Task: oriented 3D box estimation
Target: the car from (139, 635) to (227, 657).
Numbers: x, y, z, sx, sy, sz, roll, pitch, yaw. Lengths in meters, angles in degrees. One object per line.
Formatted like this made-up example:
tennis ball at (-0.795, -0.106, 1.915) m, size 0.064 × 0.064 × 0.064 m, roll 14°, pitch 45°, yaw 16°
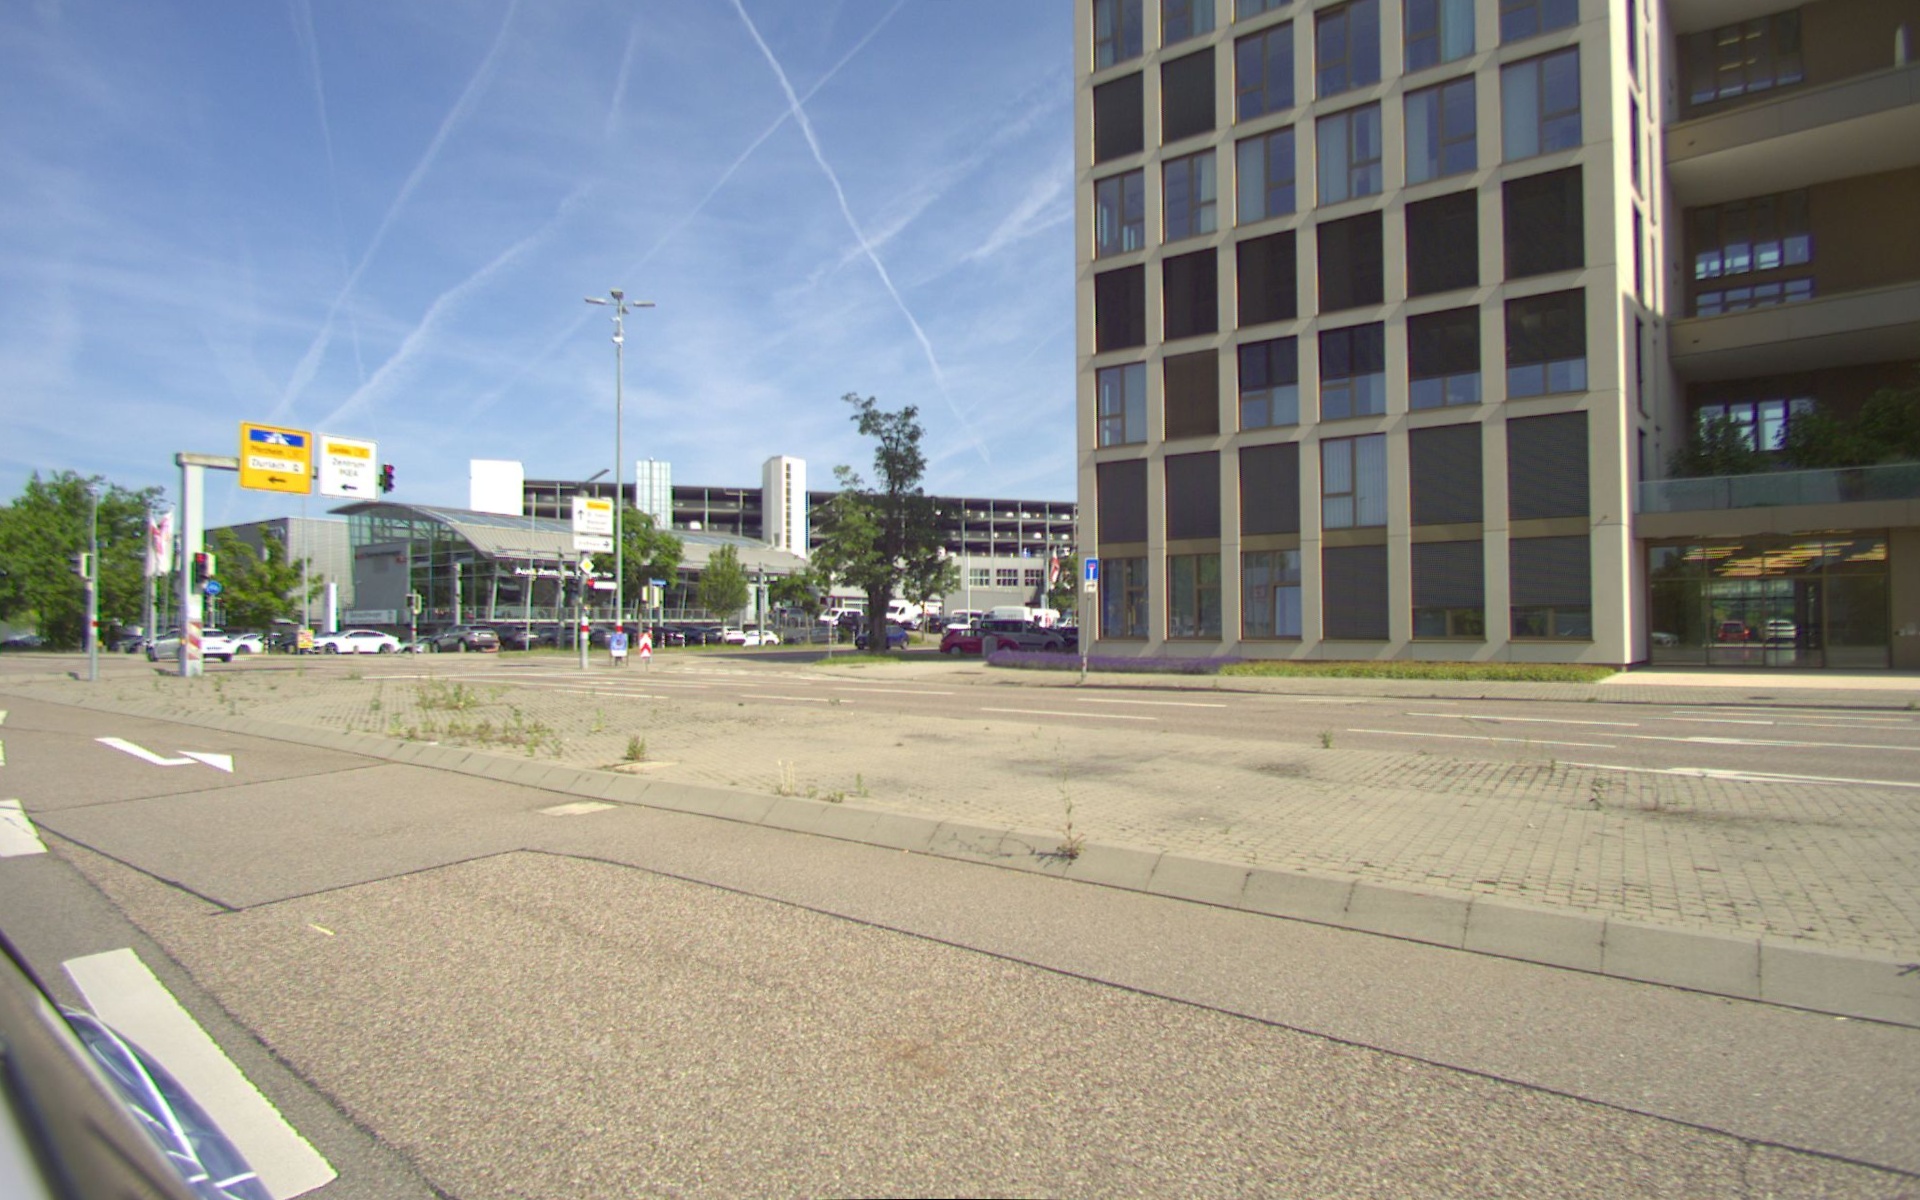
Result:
car at (-51.375, 3.072, 66.979) m, size 1.824 × 1.365 × 4.247 m, roll -2°, pitch -5°, yaw 32°

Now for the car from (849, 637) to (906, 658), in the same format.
car at (-5.435, 3.123, 66.835) m, size 1.657 × 1.299 × 3.755 m, roll -2°, pitch -2°, yaw 38°

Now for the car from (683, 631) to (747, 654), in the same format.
car at (-17.467, 3.055, 71.996) m, size 4.545 × 1.453 × 1.773 m, roll -4°, pitch -4°, yaw 33°

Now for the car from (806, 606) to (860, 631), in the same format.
car at (-10.534, 1.537, 84.215) m, size 2.082 × 1.922 × 4.499 m, roll 3°, pitch 1°, yaw 31°

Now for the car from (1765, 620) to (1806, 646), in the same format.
car at (57.216, 2.276, 70.203) m, size 1.946 × 1.692 × 3.950 m, roll -2°, pitch -2°, yaw 37°

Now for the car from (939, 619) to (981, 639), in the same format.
car at (0.052, 2.581, 90.125) m, size 1.993 × 1.586 × 3.944 m, roll -2°, pitch 0°, yaw 31°

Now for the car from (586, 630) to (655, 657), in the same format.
car at (-21.945, 2.830, 65.398) m, size 4.660 × 1.529 × 1.764 m, roll -4°, pitch -4°, yaw 33°

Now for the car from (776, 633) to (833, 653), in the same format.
car at (-12.030, 3.326, 78.132) m, size 3.958 × 1.453 × 1.803 m, roll 1°, pitch -2°, yaw -30°

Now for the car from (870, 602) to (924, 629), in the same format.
car at (-5.833, 1.425, 94.567) m, size 2.083 × 2.360 × 5.487 m, roll -3°, pitch -2°, yaw 34°

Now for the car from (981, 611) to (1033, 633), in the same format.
car at (4.632, 2.153, 99.031) m, size 4.736 × 2.029 × 1.978 m, roll -2°, pitch -2°, yaw 33°

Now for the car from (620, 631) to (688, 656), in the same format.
car at (-20.423, 2.915, 67.478) m, size 4.618 × 1.453 × 1.773 m, roll -5°, pitch -4°, yaw 33°

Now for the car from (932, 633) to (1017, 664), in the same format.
car at (0.688, 2.376, 50.234) m, size 3.966 × 1.426 × 1.811 m, roll -1°, pitch -2°, yaw -8°

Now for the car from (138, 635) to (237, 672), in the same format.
car at (-32.629, 2.249, 42.725) m, size 4.316 × 1.472 × 1.769 m, roll -2°, pitch -4°, yaw 30°

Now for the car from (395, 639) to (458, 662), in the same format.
car at (-36.678, 3.469, 69.624) m, size 1.655 × 1.484 × 3.480 m, roll -2°, pitch -2°, yaw 32°

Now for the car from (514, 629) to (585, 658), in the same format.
car at (-24.678, 2.633, 60.806) m, size 4.363 × 1.556 × 1.773 m, roll -5°, pitch -4°, yaw 33°

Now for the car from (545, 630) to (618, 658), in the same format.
car at (-23.638, 2.742, 63.141) m, size 4.763 × 1.517 × 1.773 m, roll -5°, pitch -4°, yaw 33°

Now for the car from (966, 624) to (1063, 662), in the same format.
car at (2.858, 2.260, 53.386) m, size 4.736 × 1.835 × 1.902 m, roll -1°, pitch -2°, yaw -10°

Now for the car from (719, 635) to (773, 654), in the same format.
car at (-17.404, 3.594, 82.141) m, size 3.957 × 1.453 × 1.803 m, roll 1°, pitch -2°, yaw -27°

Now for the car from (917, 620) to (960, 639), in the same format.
car at (-1.920, 2.673, 91.386) m, size 1.993 × 1.586 × 3.943 m, roll -2°, pitch -1°, yaw 31°

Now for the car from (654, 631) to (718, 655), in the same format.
car at (-18.866, 2.994, 69.696) m, size 4.389 × 1.453 × 1.773 m, roll -4°, pitch -4°, yaw 33°

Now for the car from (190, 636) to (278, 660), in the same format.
car at (-44.523, 2.965, 62.142) m, size 1.863 × 1.329 × 3.954 m, roll -2°, pitch -5°, yaw 33°

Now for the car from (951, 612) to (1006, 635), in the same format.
car at (1.717, 2.193, 94.633) m, size 4.736 × 2.029 × 1.978 m, roll -2°, pitch -2°, yaw 33°

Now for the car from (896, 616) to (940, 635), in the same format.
car at (-3.840, 2.363, 93.093) m, size 1.995 × 1.586 × 3.940 m, roll -2°, pitch -1°, yaw 34°

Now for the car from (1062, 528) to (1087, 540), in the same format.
car at (20.620, -11.802, 181.734) m, size 3.983 × 1.729 × 2.017 m, roll -1°, pitch -2°, yaw 29°

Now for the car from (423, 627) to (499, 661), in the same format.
car at (-27.815, 2.470, 56.355) m, size 4.583 × 1.626 × 1.798 m, roll -5°, pitch -4°, yaw 34°

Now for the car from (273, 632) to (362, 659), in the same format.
car at (-35.686, 2.503, 56.314) m, size 1.758 × 1.413 × 3.805 m, roll -2°, pitch -2°, yaw 32°

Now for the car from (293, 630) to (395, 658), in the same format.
car at (-33.491, 2.379, 55.132) m, size 1.895 × 1.443 × 4.334 m, roll -2°, pitch -2°, yaw 35°

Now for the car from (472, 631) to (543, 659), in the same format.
car at (-26.119, 2.604, 58.407) m, size 4.188 × 1.453 × 1.773 m, roll -5°, pitch -4°, yaw 33°

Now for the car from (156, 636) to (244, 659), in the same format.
car at (-48.951, 3.080, 65.261) m, size 1.849 × 1.345 × 4.141 m, roll -2°, pitch -5°, yaw 33°

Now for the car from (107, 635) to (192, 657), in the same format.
car at (-55.921, 3.193, 69.886) m, size 1.797 × 1.405 × 4.182 m, roll -2°, pitch -5°, yaw 33°

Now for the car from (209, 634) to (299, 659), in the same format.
car at (-42.317, 2.790, 60.735) m, size 1.873 × 1.380 × 4.039 m, roll -2°, pitch -5°, yaw 33°
